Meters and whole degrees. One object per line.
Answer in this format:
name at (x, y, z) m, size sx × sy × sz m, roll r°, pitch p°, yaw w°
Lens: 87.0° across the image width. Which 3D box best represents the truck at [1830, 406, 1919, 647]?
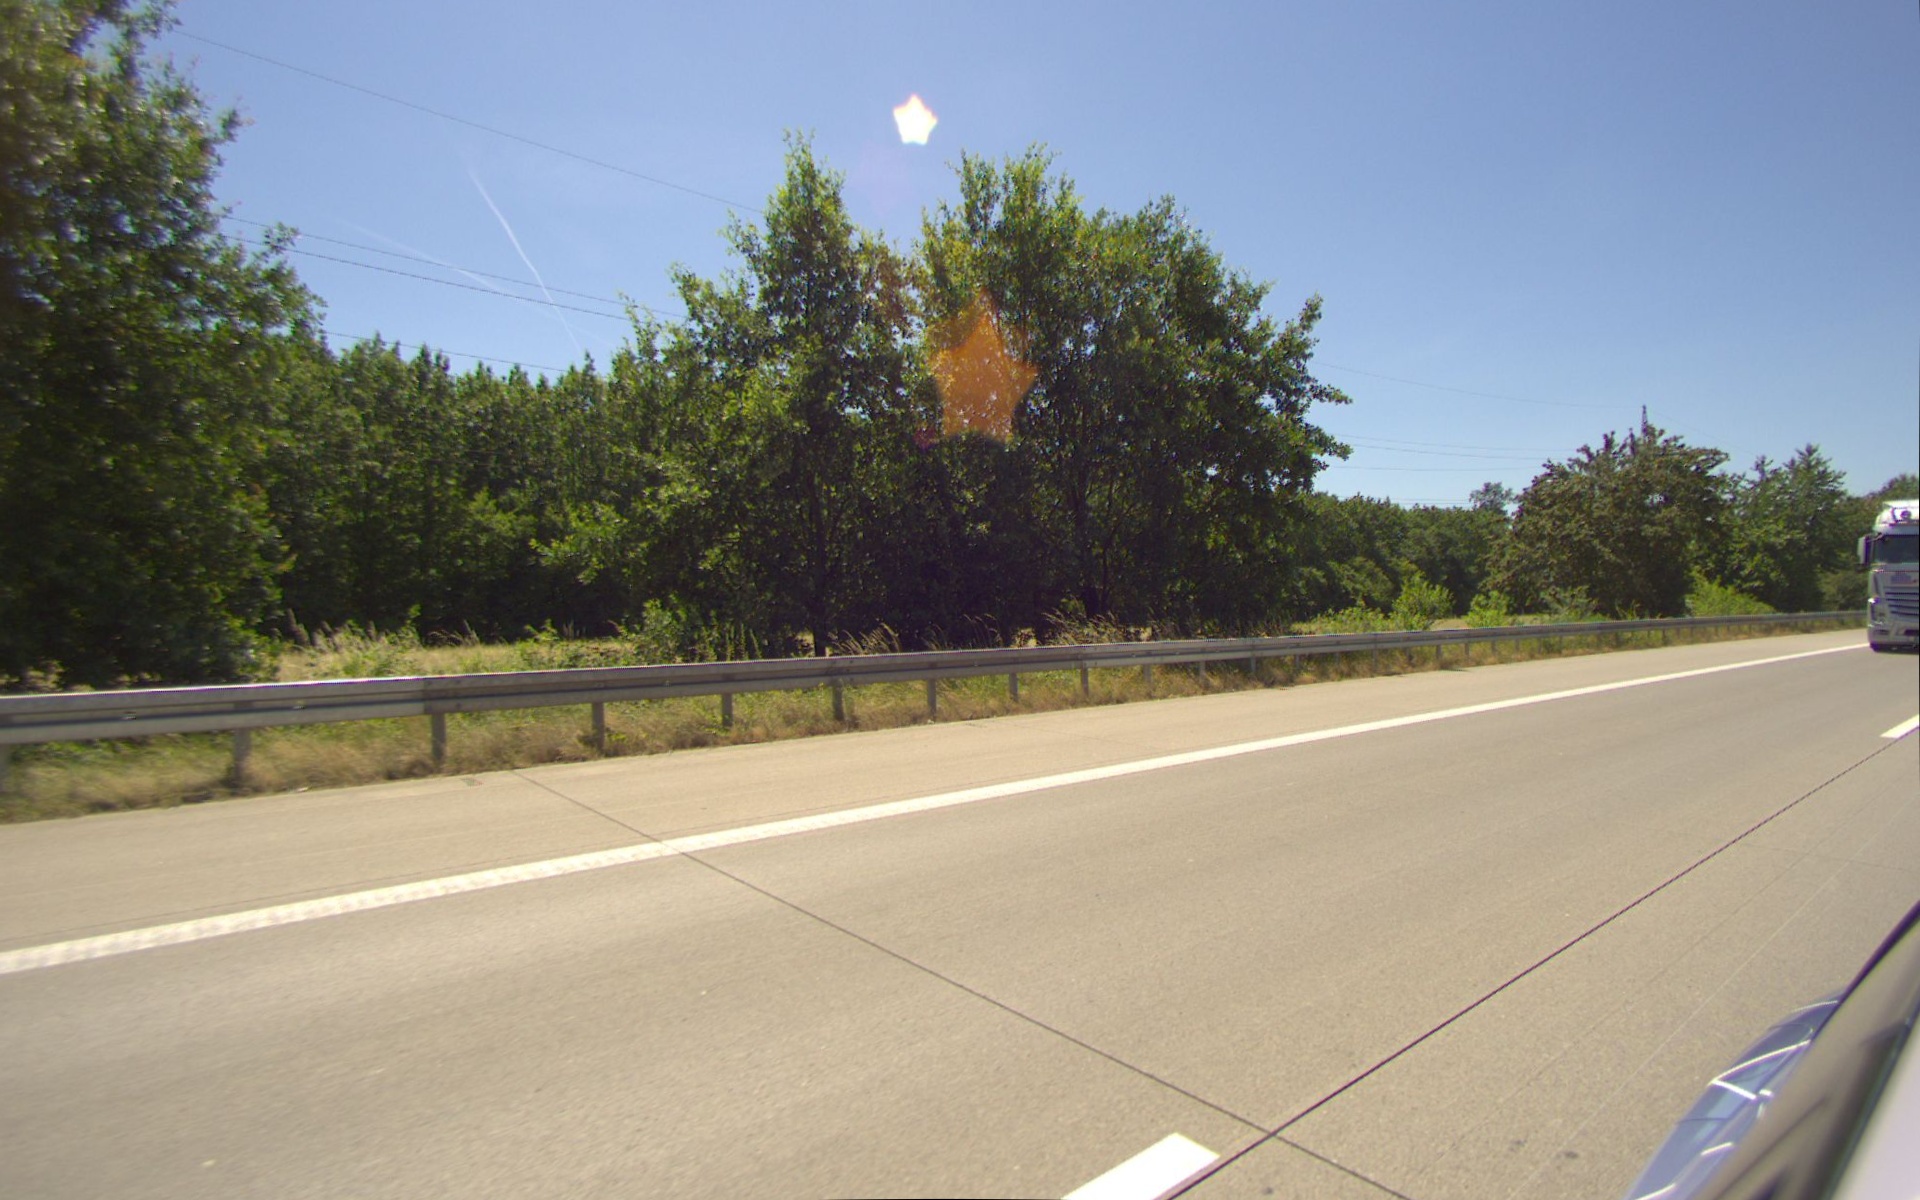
truck at (30.614, -1.822, 30.152) m, size 17.915 × 5.863 × 3.584 m, roll 0°, pitch -3°, yaw -39°
